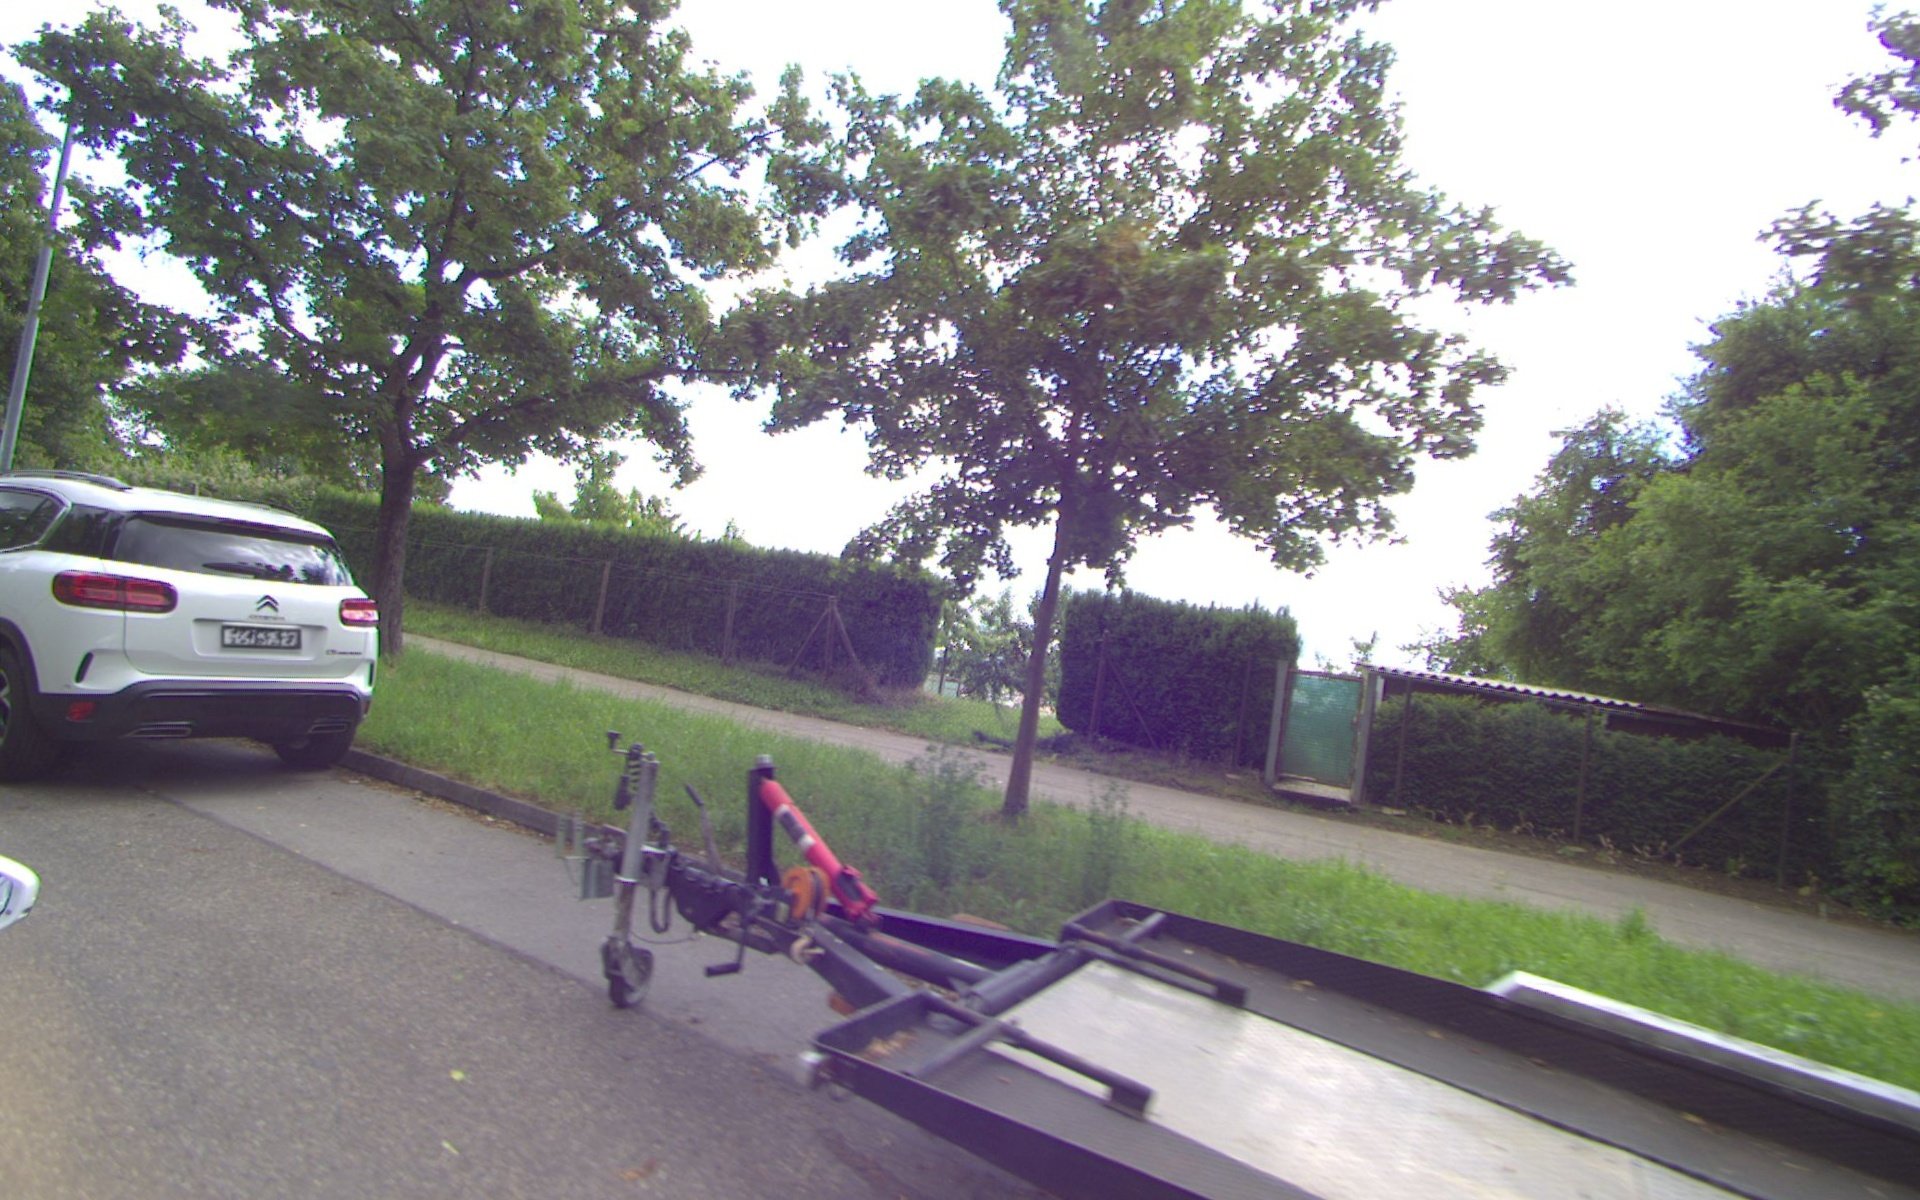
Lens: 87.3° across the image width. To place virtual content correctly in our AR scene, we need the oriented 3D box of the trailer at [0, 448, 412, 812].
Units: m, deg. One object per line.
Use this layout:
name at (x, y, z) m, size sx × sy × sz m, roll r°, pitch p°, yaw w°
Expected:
trailer at (-6.034, 0.006, 6.704) m, size 4.569 × 1.751 × 1.777 m, roll 6°, pitch -1°, yaw 27°

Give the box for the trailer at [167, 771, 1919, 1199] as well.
trailer at (0.929, 1.341, 2.339) m, size 6.292 × 0.658 × 2.111 m, roll 7°, pitch -4°, yaw 29°
